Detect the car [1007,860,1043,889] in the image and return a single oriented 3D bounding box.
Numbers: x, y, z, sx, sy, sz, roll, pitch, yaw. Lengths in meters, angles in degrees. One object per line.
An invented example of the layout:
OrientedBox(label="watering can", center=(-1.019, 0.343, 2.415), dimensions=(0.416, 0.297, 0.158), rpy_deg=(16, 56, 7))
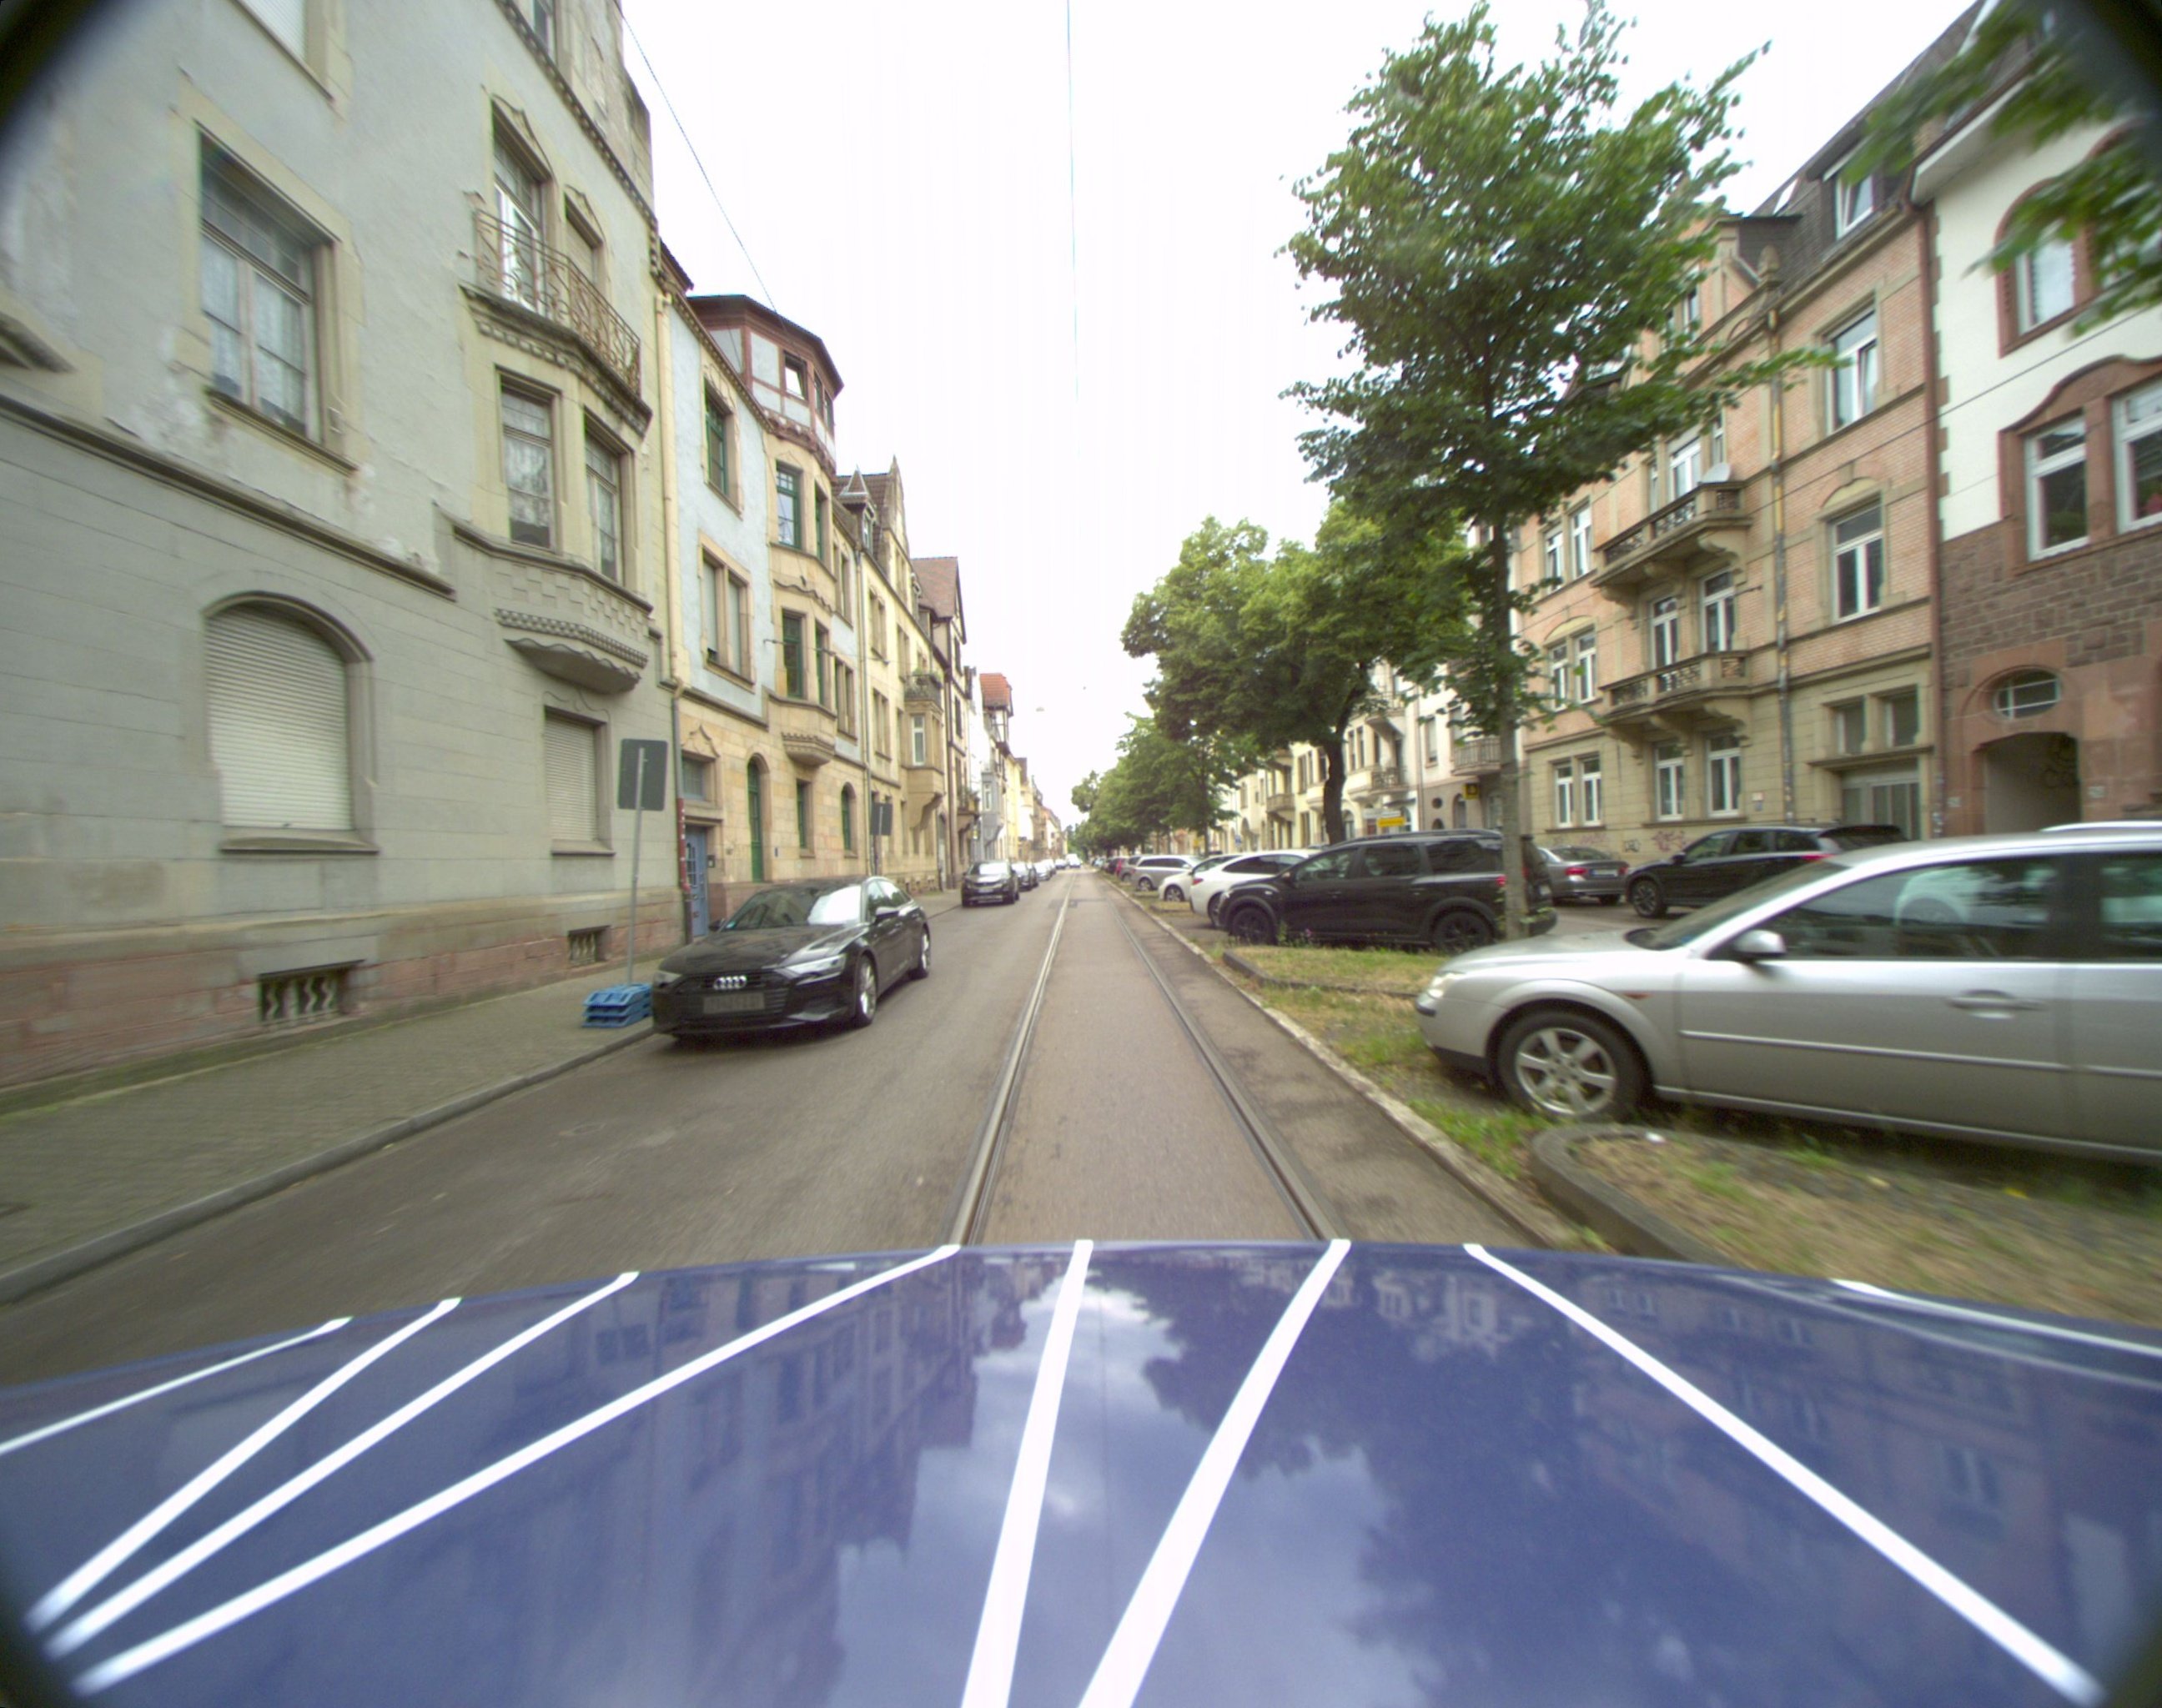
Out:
OrientedBox(label="car", center=(-3.253, 1.168, 44.802), dimensions=(1.702, 1.504, 4.391), rpy_deg=(-5, 0, -1))

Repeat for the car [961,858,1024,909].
OrientedBox(label="car", center=(-3.141, 1.009, 27.768), dimensions=(1.764, 1.612, 4.694), rpy_deg=(-3, 0, -1))

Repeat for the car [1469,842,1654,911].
OrientedBox(label="car", center=(11.538, 0.477, 18.644), dimensions=(1.809, 1.430, 4.229), rpy_deg=(-3, 0, -1))

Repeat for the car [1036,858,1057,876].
OrientedBox(label="car", center=(-3.257, 1.241, 72.218), dimensions=(1.635, 1.478, 4.213), rpy_deg=(-5, 0, 0))

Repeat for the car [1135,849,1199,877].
OrientedBox(label="car", center=(5.081, 0.561, 45.170), dimensions=(3.418, 1.518, 1.693), rpy_deg=(-1, 2, 42))

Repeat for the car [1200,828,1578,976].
OrientedBox(label="car", center=(4.074, 0.572, 10.616), dimensions=(4.520, 1.623, 1.769), rpy_deg=(-2, 1, 44))

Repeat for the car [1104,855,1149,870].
OrientedBox(label="car", center=(4.411, 0.829, 74.217), dimensions=(3.989, 1.407, 1.902), rpy_deg=(-3, -2, 39))

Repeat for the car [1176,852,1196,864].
OrientedBox(label="car", center=(11.817, 0.457, 85.339), dimensions=(1.639, 1.169, 3.380), rpy_deg=(-3, 0, -2))

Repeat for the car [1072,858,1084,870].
OrientedBox(label="car", center=(-0.577, 1.753, 131.490), dimensions=(1.998, 2.002, 3.999), rpy_deg=(-3, 0, 0))

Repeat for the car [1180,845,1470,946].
OrientedBox(label="car", center=(4.276, 0.679, 13.799), dimensions=(4.529, 1.481, 2.040), rpy_deg=(-2, 1, 44))

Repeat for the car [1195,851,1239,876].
OrientedBox(label="car", center=(8.396, 0.555, 47.351), dimensions=(1.809, 1.444, 4.652), rpy_deg=(-3, 0, -1))

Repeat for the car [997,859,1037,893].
OrientedBox(label="car", center=(-3.283, 1.112, 39.774), dimensions=(1.702, 1.504, 4.419), rpy_deg=(-5, 0, -2))

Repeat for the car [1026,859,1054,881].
OrientedBox(label="car", center=(-3.228, 1.238, 60.797), dimensions=(1.793, 1.504, 4.214), rpy_deg=(-5, 0, 1))

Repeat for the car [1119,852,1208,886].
OrientedBox(label="car", center=(4.169, 0.769, 38.748), dimensions=(4.195, 1.600, 1.728), rpy_deg=(-1, 2, 41))

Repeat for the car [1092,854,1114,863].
OrientedBox(label="car", center=(4.610, 0.965, 157.861), dimensions=(3.991, 1.602, 1.901), rpy_deg=(-2, -1, 21))

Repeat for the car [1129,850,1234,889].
OrientedBox(label="car", center=(4.113, 0.668, 31.484), dimensions=(1.779, 1.476, 3.989), rpy_deg=(-3, 0, -45))

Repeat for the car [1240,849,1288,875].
OrientedBox(label="car", center=(11.725, 0.519, 48.937), dimensions=(1.856, 1.513, 4.194), rpy_deg=(-2, 0, -2))

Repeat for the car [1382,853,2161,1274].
OrientedBox(label="car", center=(4.044, 0.726, 3.385), dimensions=(4.655, 1.360, 1.761), rpy_deg=(-3, 0, 43))

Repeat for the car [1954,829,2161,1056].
OrientedBox(label="car", center=(8.155, 0.592, 4.935), dimensions=(1.608, 1.506, 2.892), rpy_deg=(-3, 0, -1))

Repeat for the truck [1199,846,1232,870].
OrientedBox(label="truck", center=(11.761, 0.338, 66.847), dimensions=(2.150, 1.845, 6.065), rpy_deg=(-3, 0, 4))

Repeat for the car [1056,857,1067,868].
OrientedBox(label="car", center=(-3.010, 1.285, 117.747), dimensions=(1.676, 1.519, 4.212), rpy_deg=(-3, 1, 0))

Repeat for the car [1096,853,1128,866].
OrientedBox(label="car", center=(4.260, 0.786, 105.878), dimensions=(3.989, 1.602, 1.902), rpy_deg=(-2, -1, 31))

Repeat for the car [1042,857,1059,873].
OrientedBox(label="car", center=(-3.284, 1.174, 82.282), dimensions=(1.635, 1.519, 4.212), rpy_deg=(-3, 1, 0))

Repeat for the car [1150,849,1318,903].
OrientedBox(label="car", center=(4.160, 0.626, 21.037), dimensions=(4.119, 1.304, 1.867), rpy_deg=(-3, 0, 43))

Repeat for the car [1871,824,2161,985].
OrientedBox(label="car", center=(11.395, 0.472, 8.273), dimensions=(1.666, 1.550, 3.722), rpy_deg=(-3, 0, -1))

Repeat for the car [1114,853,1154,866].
OrientedBox(label="car", center=(5.985, 0.639, 85.753), dimensions=(3.991, 1.407, 1.901), rpy_deg=(-2, -1, 21))

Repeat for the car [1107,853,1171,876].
OrientedBox(label="car", center=(4.277, 0.799, 56.548), dimensions=(1.889, 1.458, 4.596), rpy_deg=(-3, 0, -44))

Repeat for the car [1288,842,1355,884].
OrientedBox(label="car", center=(11.667, 0.412, 37.154), dimensions=(1.855, 1.859, 4.431), rpy_deg=(-2, 0, 1))

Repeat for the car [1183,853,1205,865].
OrientedBox(label="car", center=(11.805, 0.493, 79.730), dimensions=(1.639, 1.169, 3.380), rpy_deg=(-3, 0, -2))

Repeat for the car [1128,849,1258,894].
OrientedBox(label="car", center=(4.113, 0.685, 28.387), dimensions=(1.867, 1.484, 4.553), rpy_deg=(-4, 1, -44))

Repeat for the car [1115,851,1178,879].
OrientedBox(label="car", center=(4.179, 0.717, 48.945), dimensions=(1.678, 1.518, 3.803), rpy_deg=(-4, 0, -45))

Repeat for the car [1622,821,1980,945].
OrientedBox(label="car", center=(11.443, 0.387, 12.605), dimensions=(1.773, 1.619, 4.320), rpy_deg=(-3, 0, -1))

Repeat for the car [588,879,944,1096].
OrientedBox(label="car", center=(-2.973, 1.150, 8.659), dimensions=(1.805, 1.429, 5.195), rpy_deg=(-5, 0, 0))

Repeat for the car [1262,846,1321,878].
OrientedBox(label="car", center=(11.670, 0.419, 42.440), dimensions=(1.856, 1.650, 4.492), rpy_deg=(-2, 0, -2))

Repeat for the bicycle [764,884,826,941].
OrientedBox(label="bicycle", center=(-6.466, 1.292, 17.280), dimensions=(0.612, 1.120, 1.916), rpy_deg=(-5, 0, 0))
